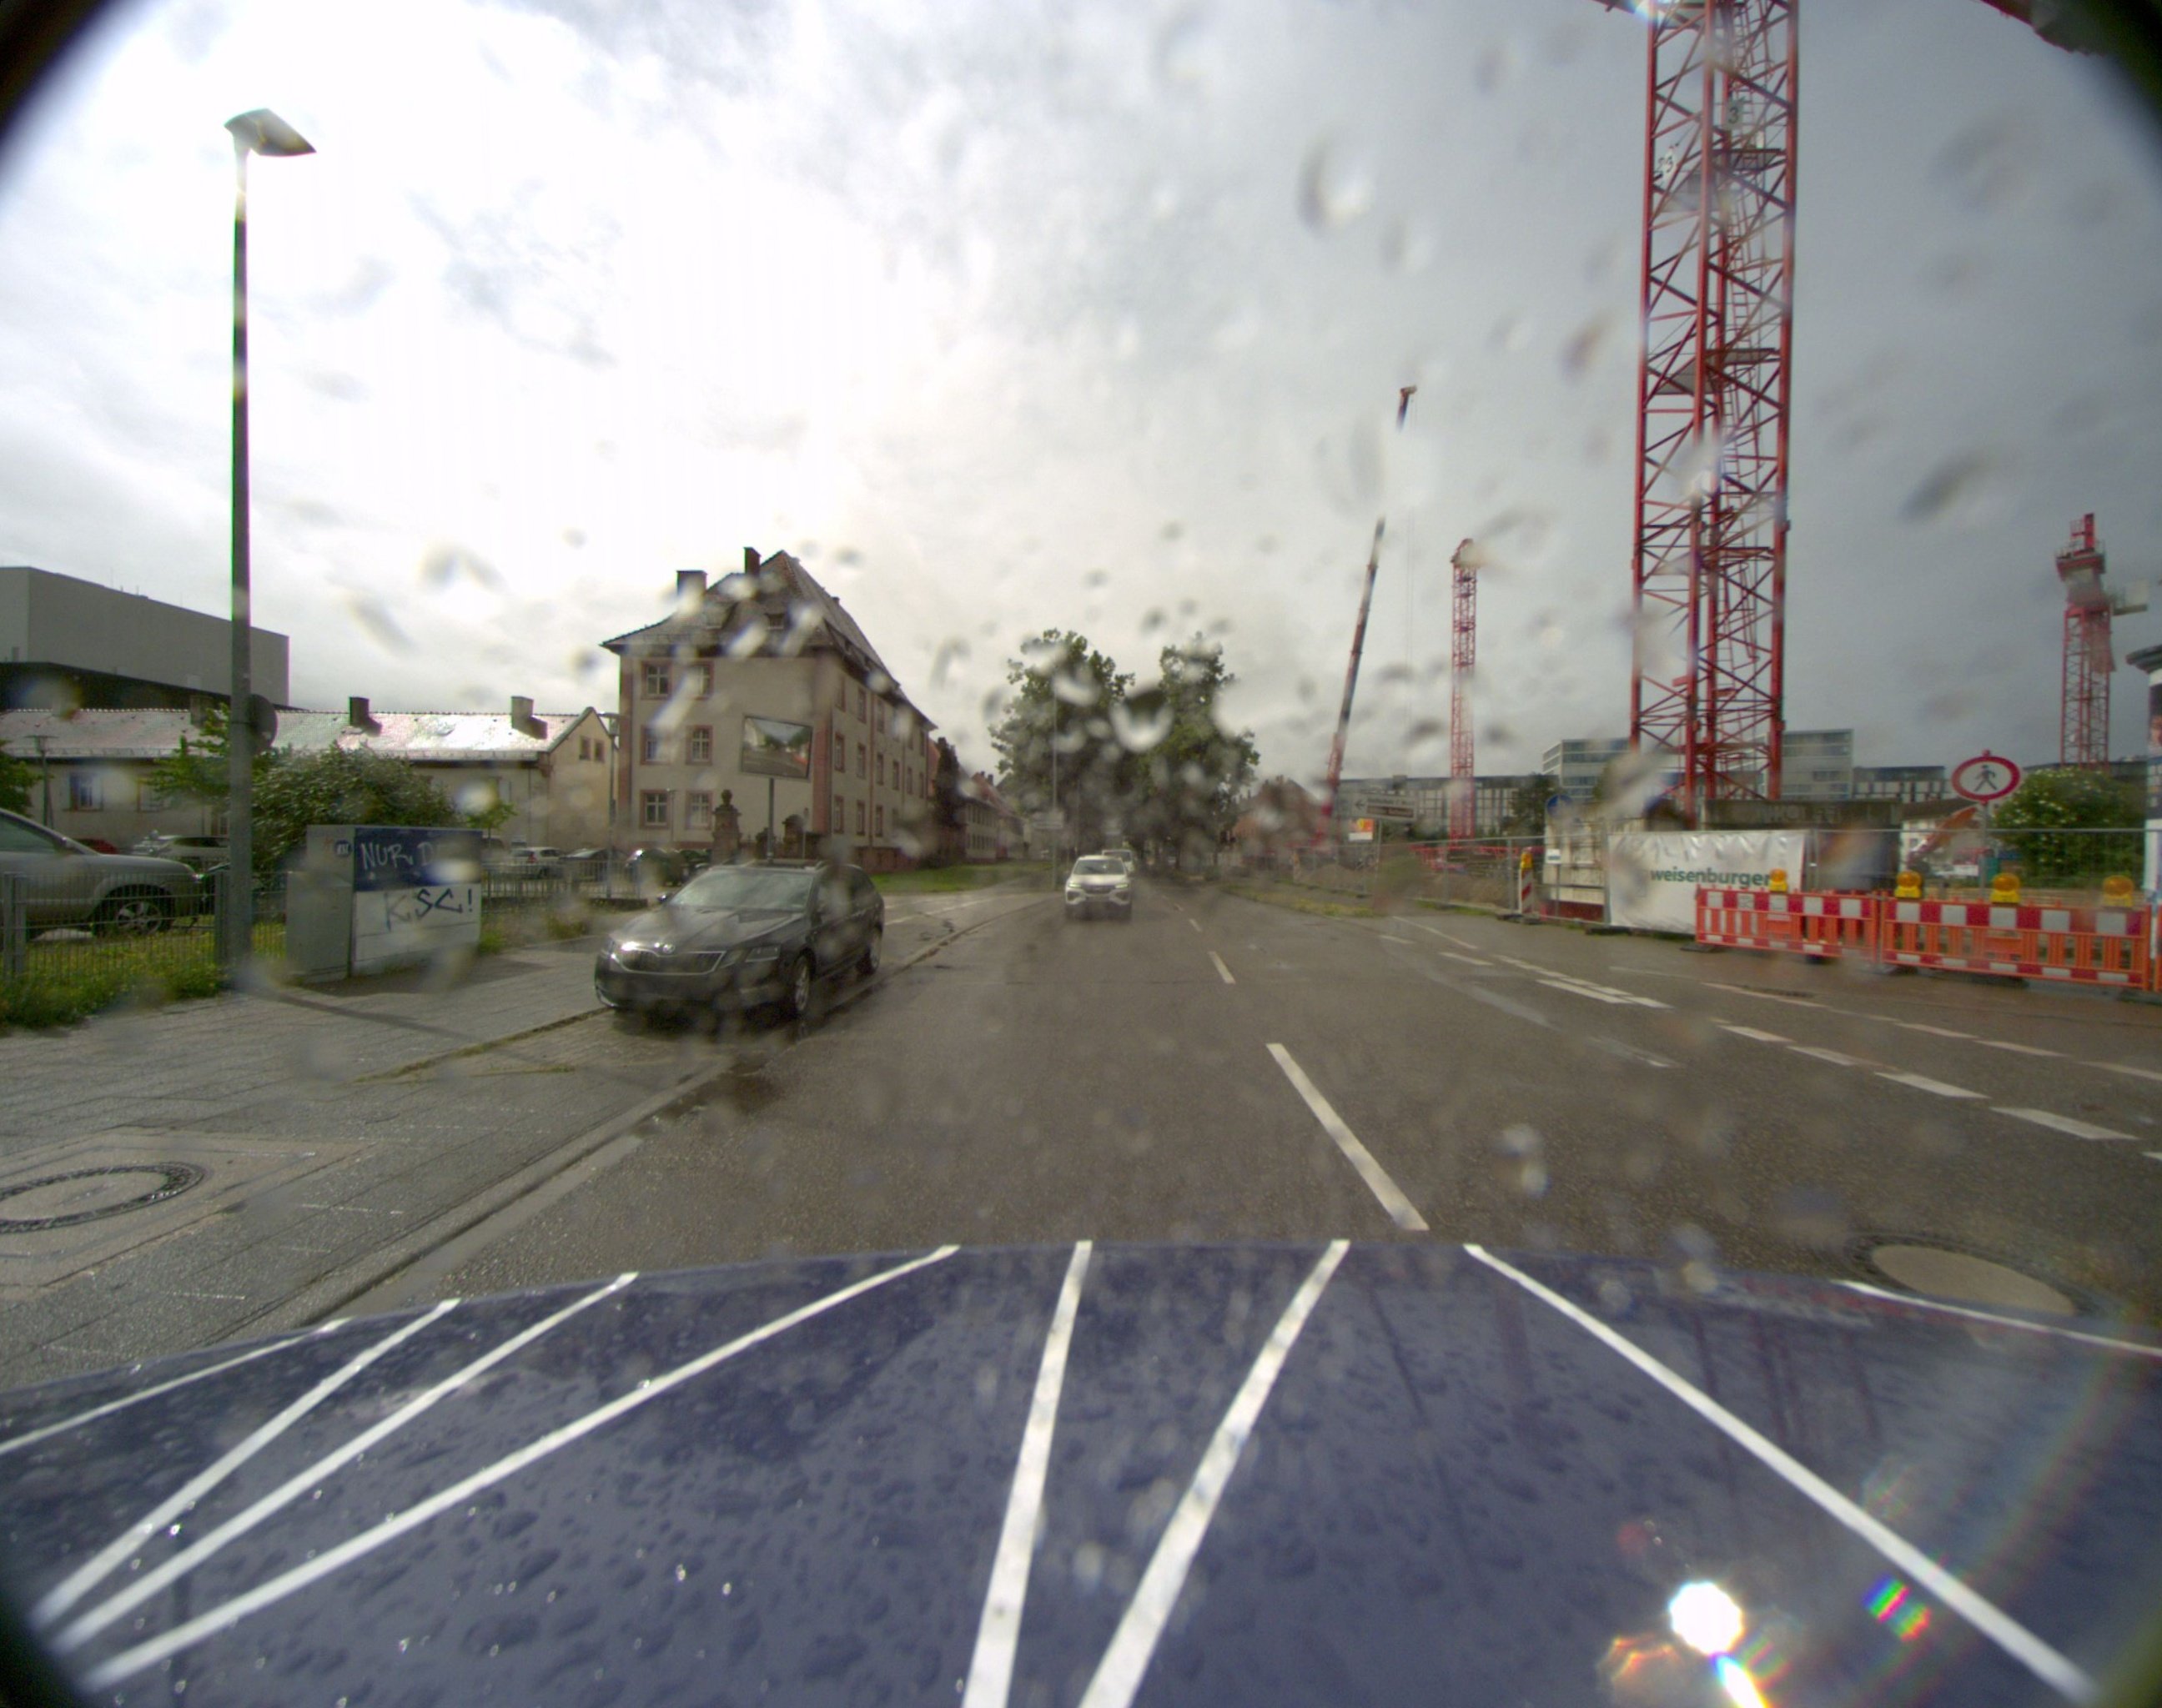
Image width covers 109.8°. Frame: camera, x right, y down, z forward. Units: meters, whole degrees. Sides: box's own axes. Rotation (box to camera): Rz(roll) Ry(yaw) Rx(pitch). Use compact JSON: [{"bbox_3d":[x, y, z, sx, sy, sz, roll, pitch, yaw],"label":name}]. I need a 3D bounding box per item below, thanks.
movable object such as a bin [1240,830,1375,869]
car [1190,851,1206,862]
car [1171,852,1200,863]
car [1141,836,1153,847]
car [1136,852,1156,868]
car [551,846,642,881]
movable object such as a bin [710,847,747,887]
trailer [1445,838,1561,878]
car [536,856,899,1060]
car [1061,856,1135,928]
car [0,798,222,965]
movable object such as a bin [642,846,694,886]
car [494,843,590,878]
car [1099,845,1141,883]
[{"bbox_3d":[28.234,-0.566,95.399,15.940,4.532,3.102,-1,1,5],"label":"movable object such as a bin"},{"bbox_3d":[17.695,0.397,114.756,1.693,1.521,3.999,-1,1,0],"label":"car"},{"bbox_3d":[15.080,0.483,109.488,3.864,1.543,1.700,-1,1,18],"label":"car"},{"bbox_3d":[10.579,-2.020,122.280,1.817,1.531,3.983,3,0,3],"label":"car"},{"bbox_3d":[6.616,0.597,77.387,1.845,1.598,4.001,0,0,3],"label":"car"},{"bbox_3d":[-21.506,0.410,33.883,1.598,1.438,3.575,2,0,3],"label":"car"},{"bbox_3d":[-13.391,0.491,28.858,0.801,1.448,1.097,2,0,3],"label":"movable object such as a bin"},{"bbox_3d":[38.702,0.240,70.611,2.968,3.214,14.308,-3,1,1],"label":"trailer"},{"bbox_3d":[-3.472,0.850,8.337,1.778,1.531,4.378,3,0,1],"label":"car"},{"bbox_3d":[0.445,0.843,18.624,1.608,1.499,4.000,-1,1,2],"label":"car"},{"bbox_3d":[-12.160,0.266,7.762,1.808,1.739,4.239,1,0,4],"label":"car"},{"bbox_3d":[-15.720,0.456,28.949,1.108,1.448,1.391,2,0,3],"label":"movable object such as a bin"},{"bbox_3d":[-24.239,0.295,34.305,1.598,1.438,3.575,2,0,3],"label":"car"},{"bbox_3d":[2.188,0.522,44.311,2.107,1.990,5.433,-1,1,0],"label":"car"}]
